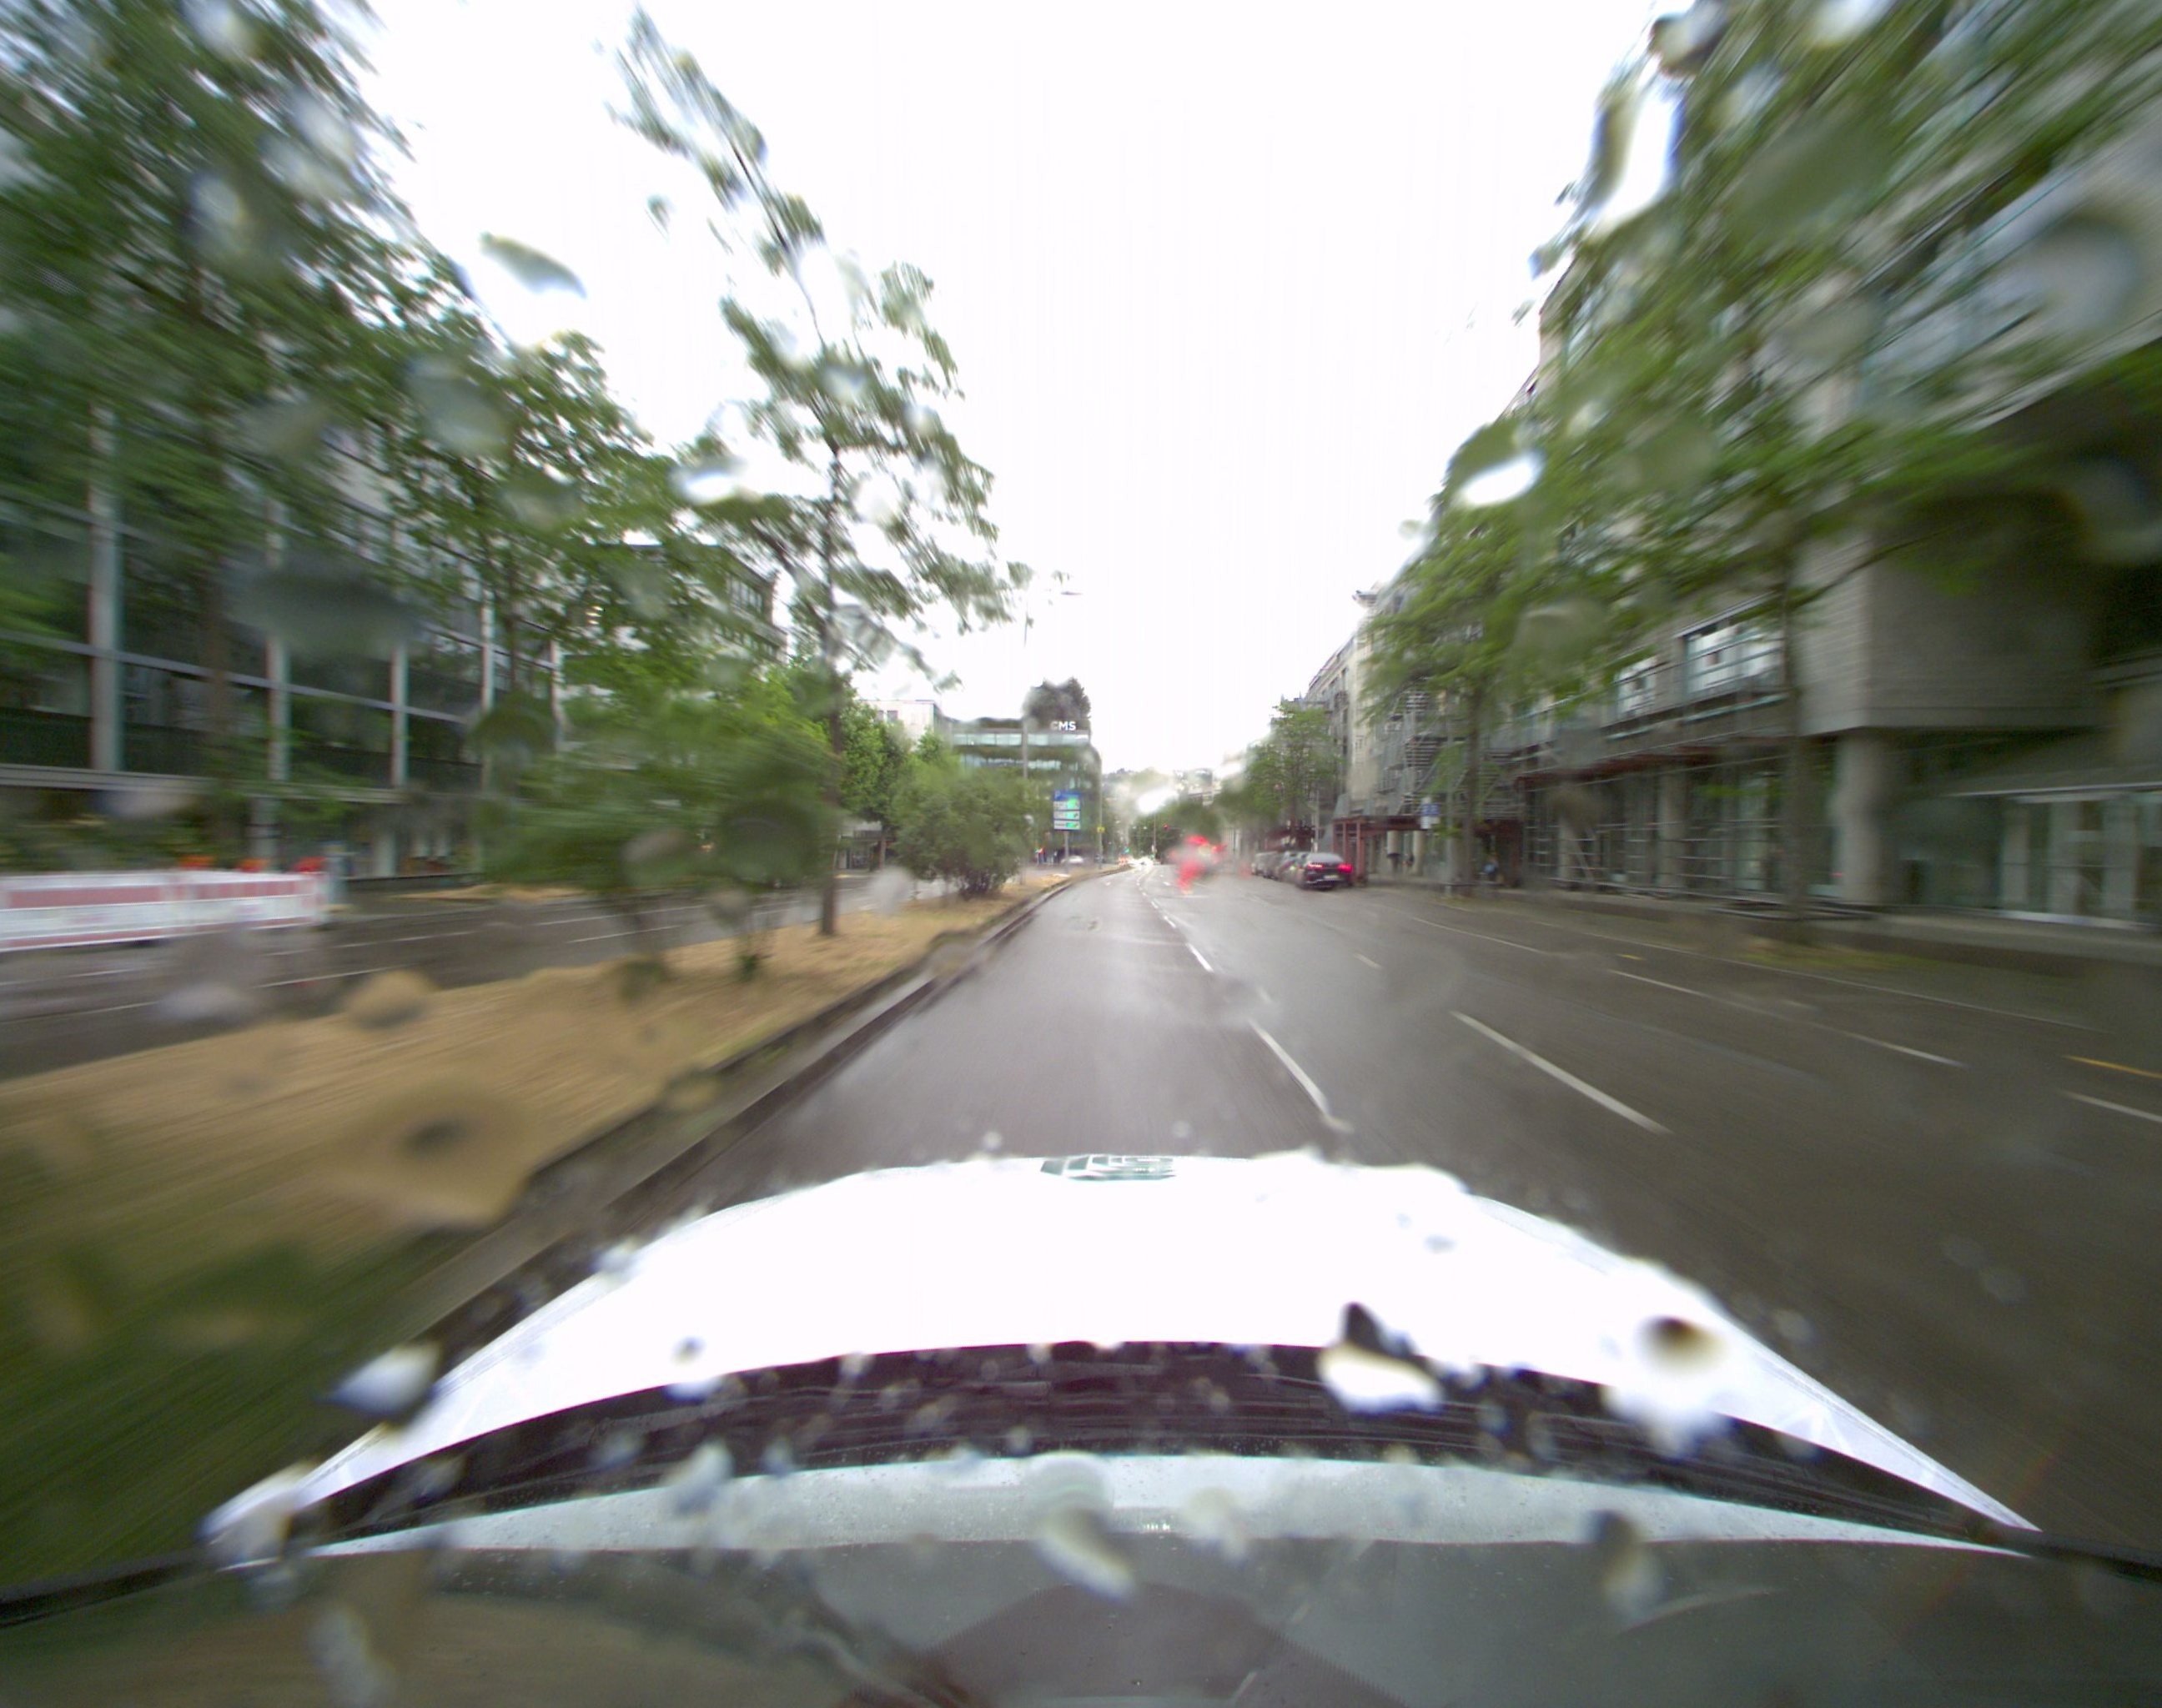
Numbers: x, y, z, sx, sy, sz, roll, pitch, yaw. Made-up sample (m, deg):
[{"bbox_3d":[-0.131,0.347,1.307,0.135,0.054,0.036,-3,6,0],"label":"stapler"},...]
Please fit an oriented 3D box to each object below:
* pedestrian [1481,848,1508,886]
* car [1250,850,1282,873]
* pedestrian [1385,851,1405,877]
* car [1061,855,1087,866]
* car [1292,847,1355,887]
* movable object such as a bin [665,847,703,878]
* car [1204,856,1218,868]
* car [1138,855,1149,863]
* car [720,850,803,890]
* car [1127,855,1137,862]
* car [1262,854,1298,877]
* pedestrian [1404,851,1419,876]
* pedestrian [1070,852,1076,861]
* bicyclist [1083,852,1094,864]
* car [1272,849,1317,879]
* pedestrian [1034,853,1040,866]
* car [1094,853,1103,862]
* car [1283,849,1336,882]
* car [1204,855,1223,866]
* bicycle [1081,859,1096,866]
[{"bbox_3d":[17.449,0.533,34.369,0.700,1.596,0.924,0,0,4],"label":"pedestrian"},{"bbox_3d":[14.853,0.576,65.679,1.983,1.750,4.534,0,0,6],"label":"car"},{"bbox_3d":[19.382,0.606,50.254,0.815,1.596,1.114,0,0,1],"label":"pedestrian"},{"bbox_3d":[-1.236,1.135,141.883,3.950,1.884,2.012,0,0,27],"label":"car"},{"bbox_3d":[10.455,0.538,35.511,1.982,1.601,5.302,0,0,9],"label":"car"},{"bbox_3d":[-19.559,0.412,40.170,1.272,1.488,1.090,0,0,5],"label":"movable object such as a bin"},{"bbox_3d":[17.090,0.985,107.208,1.768,1.540,4.156,0,0,8],"label":"car"},{"bbox_3d":[13.007,1.017,169.154,1.983,1.550,4.563,0,0,6],"label":"car"},{"bbox_3d":[-13.546,0.657,34.795,1.771,1.636,4.027,0,0,3],"label":"car"},{"bbox_3d":[10.939,0.975,175.684,1.850,1.448,4.620,0,0,0],"label":"car"},{"bbox_3d":[13.120,0.714,54.018,1.858,1.437,4.932,0,0,8],"label":"car"},{"bbox_3d":[20.541,0.604,50.632,0.676,1.519,0.769,0,0,8],"label":"pedestrian"},{"bbox_3d":[-1.538,0.446,157.450,0.937,1.758,1.165,0,0,-18],"label":"pedestrian"},{"bbox_3d":[1.047,0.557,117.966,1.304,1.704,0.839,0,-1,-36],"label":"bicyclist"},{"bbox_3d":[12.306,0.544,47.259,1.982,1.646,4.873,0,0,8],"label":"car"},{"bbox_3d":[-6.720,0.855,123.746,0.803,1.885,0.866,-4,-1,-1],"label":"pedestrian"},{"bbox_3d":[3.953,0.754,180.345,1.986,1.895,4.467,0,0,2],"label":"car"},{"bbox_3d":[11.672,0.548,41.910,1.852,1.601,4.600,0,0,6],"label":"car"},{"bbox_3d":[18.610,0.962,114.390,1.689,1.529,4.449,0,0,21],"label":"car"},{"bbox_3d":[1.062,1.217,117.939,2.162,1.103,0.839,0,0,-37],"label":"bicycle"}]
